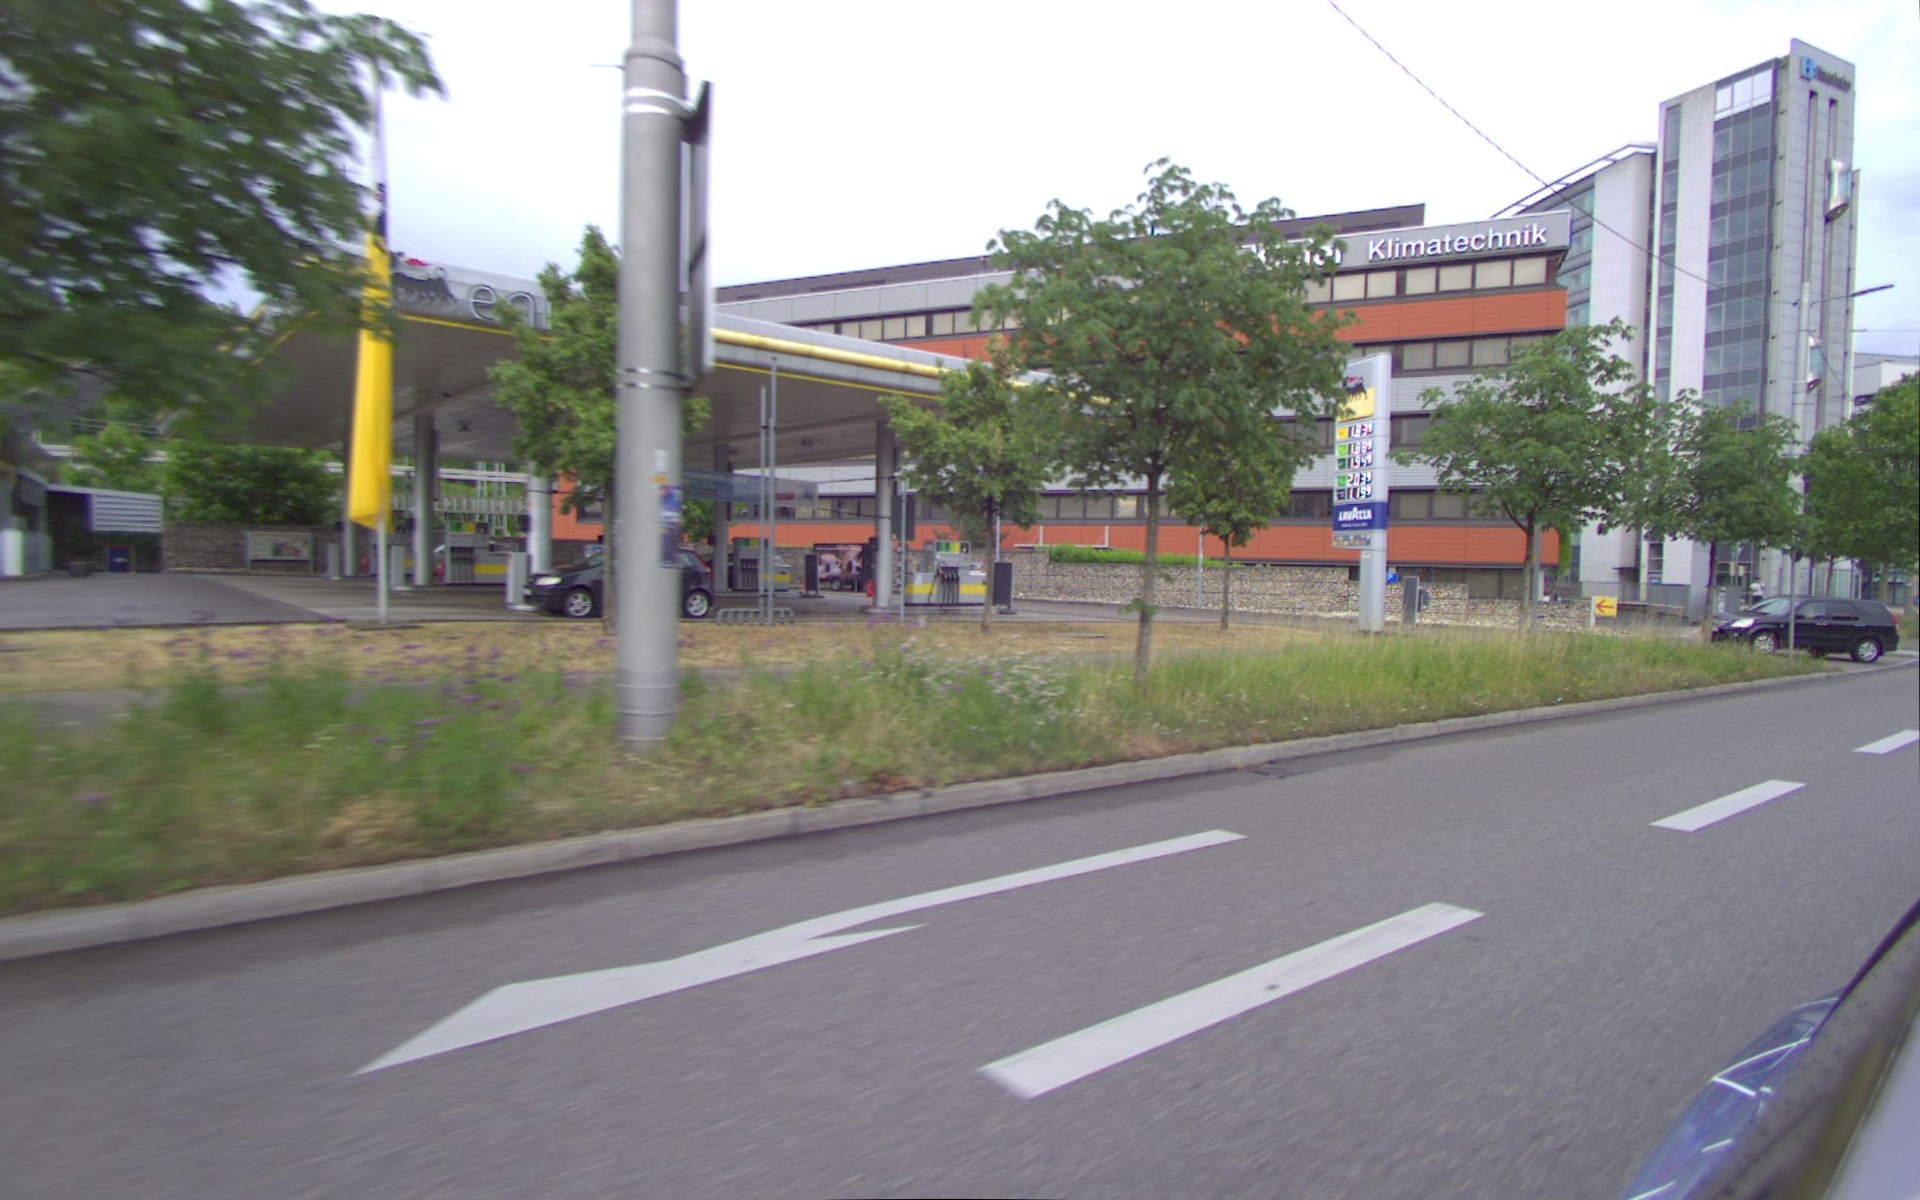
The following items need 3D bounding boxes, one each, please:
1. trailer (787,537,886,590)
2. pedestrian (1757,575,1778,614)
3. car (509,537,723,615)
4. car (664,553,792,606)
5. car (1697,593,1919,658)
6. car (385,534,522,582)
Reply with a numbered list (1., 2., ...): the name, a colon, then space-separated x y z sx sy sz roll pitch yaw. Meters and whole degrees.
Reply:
1. trailer: -5.461 -1.613 44.607 3.959 2.173 1.823 3 2 25
2. pedestrian: 40.688 -0.283 51.010 0.675 1.925 0.672 -1 -1 27
3. car: -6.957 -0.474 20.588 3.713 1.436 1.784 1 3 -39
4. car: -8.207 -0.724 35.951 3.929 1.668 1.903 0 6 -40
5. car: 22.724 0.668 27.247 4.283 1.667 1.791 0 -1 5
6. car: -19.984 -1.600 40.033 4.519 1.686 1.997 0 -1 -40
